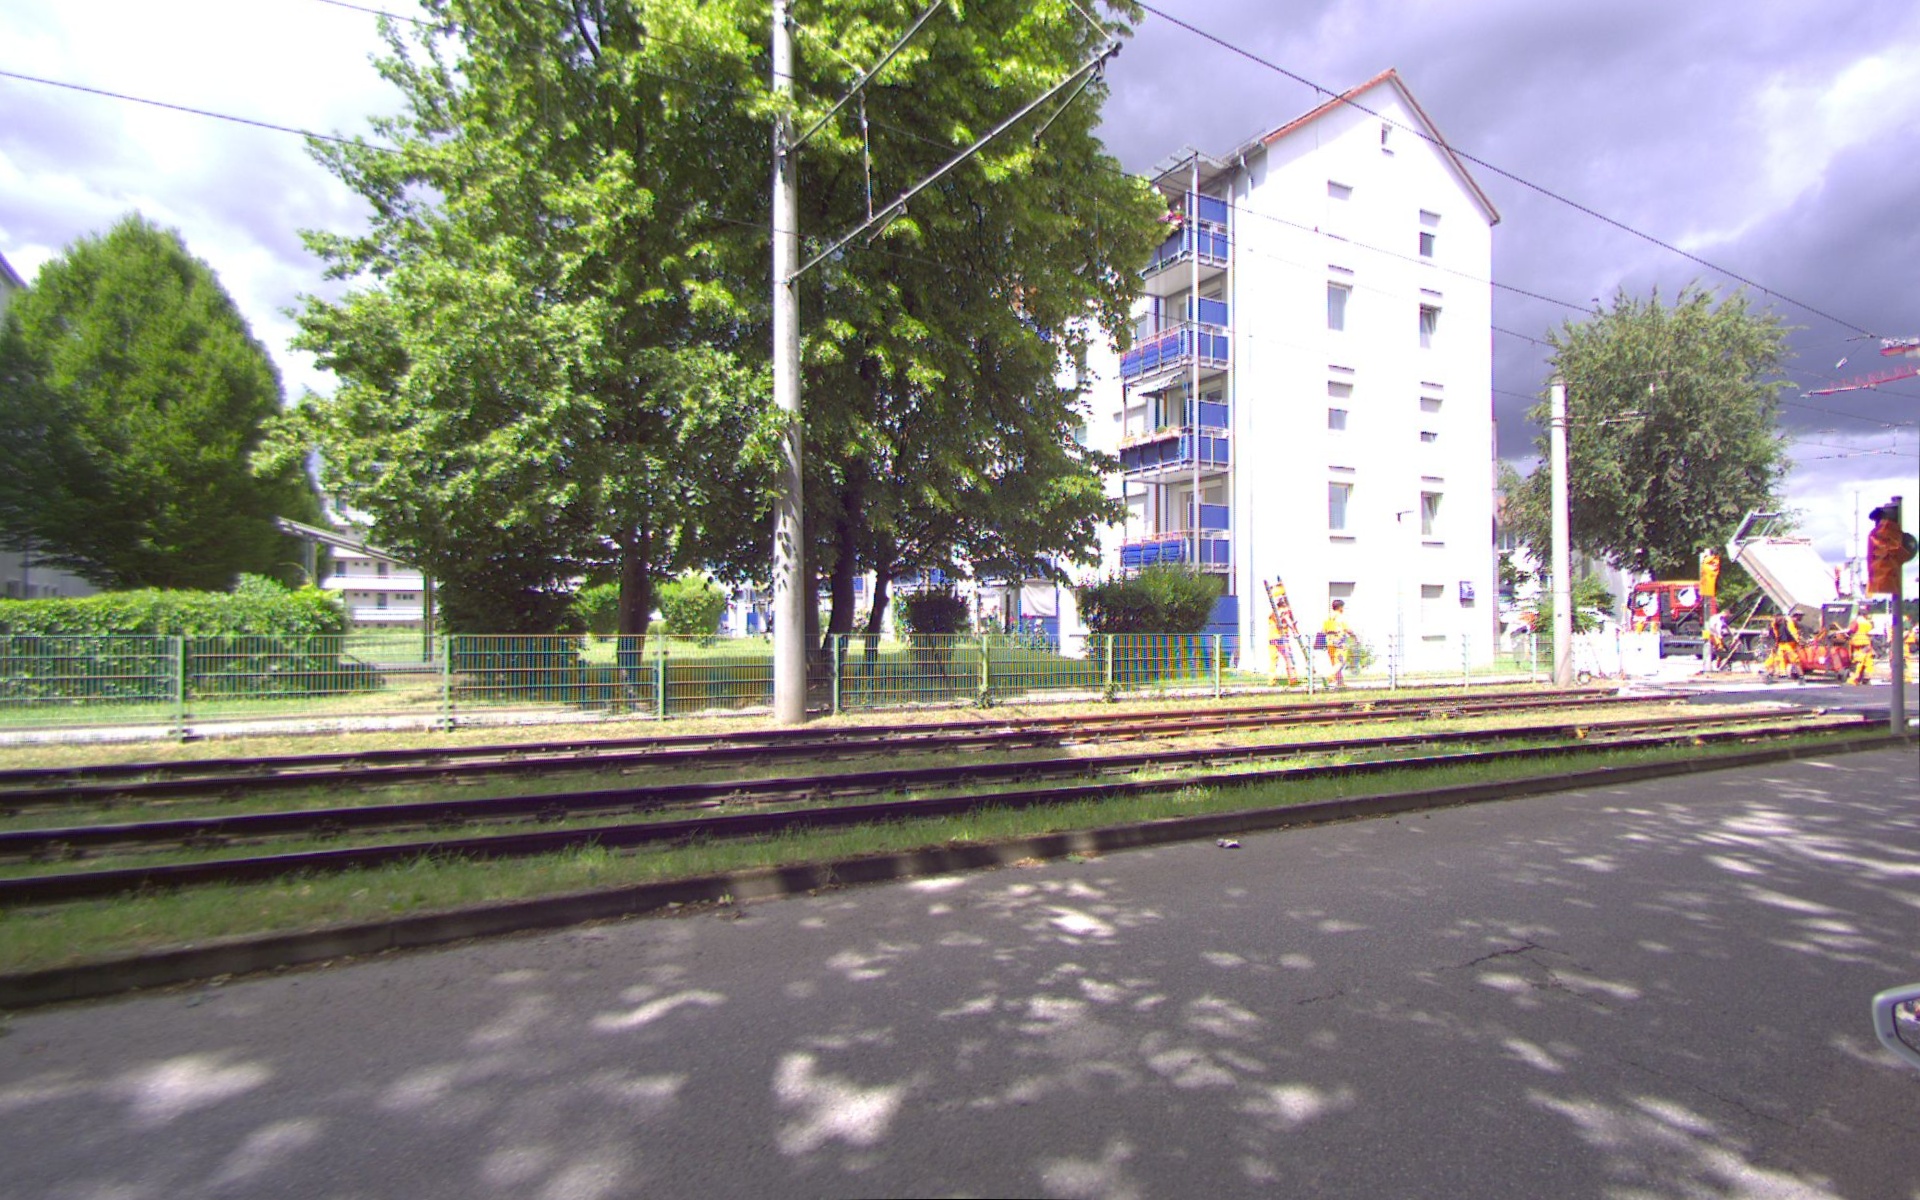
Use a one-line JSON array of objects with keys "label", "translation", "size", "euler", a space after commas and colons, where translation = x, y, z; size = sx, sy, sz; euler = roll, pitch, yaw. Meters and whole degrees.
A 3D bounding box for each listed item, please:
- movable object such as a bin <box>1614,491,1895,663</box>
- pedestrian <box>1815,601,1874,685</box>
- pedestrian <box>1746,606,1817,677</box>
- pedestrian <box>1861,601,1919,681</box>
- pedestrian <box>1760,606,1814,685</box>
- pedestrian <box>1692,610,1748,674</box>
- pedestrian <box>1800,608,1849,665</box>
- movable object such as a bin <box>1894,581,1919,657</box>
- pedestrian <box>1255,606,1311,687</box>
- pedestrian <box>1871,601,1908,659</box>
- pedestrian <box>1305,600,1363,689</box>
[{"label": "movable object such as a bin", "translation": [28.398, -0.677, 36.707], "size": [2.612, 5.486, 9.229], "euler": [1, -1, -3]}, {"label": "pedestrian", "translation": [20.662, 0.984, 23.483], "size": [0.873, 1.892, 0.835], "euler": [1, 0, 32]}, {"label": "pedestrian", "translation": [20.611, 1.021, 25.230], "size": [1.088, 1.738, 0.888], "euler": [1, 0, 16]}, {"label": "pedestrian", "translation": [22.724, 0.982, 24.413], "size": [0.821, 1.892, 0.888], "euler": [1, 0, -1]}, {"label": "pedestrian", "translation": [19.197, 1.034, 23.314], "size": [0.876, 1.784, 0.832], "euler": [1, 0, 45]}, {"label": "pedestrian", "translation": [20.196, 1.106, 26.704], "size": [0.870, 1.667, 0.837], "euler": [1, 0, 4]}, {"label": "pedestrian", "translation": [26.027, 1.094, 30.248], "size": [0.889, 1.667, 0.881], "euler": [1, 0, -30]}, {"label": "movable object such as a bin", "translation": [34.692, 0.655, 33.902], "size": [2.177, 2.664, 4.379], "euler": [1, -1, -3]}, {"label": "pedestrian", "translation": [6.701, 0.949, 20.857], "size": [0.856, 1.647, 0.728], "euler": [1, -1, -30]}, {"label": "pedestrian", "translation": [31.101, 0.988, 33.604], "size": [0.881, 1.892, 0.827], "euler": [1, 0, -41]}, {"label": "pedestrian", "translation": [7.524, 0.883, 20.234], "size": [0.856, 1.741, 0.696], "euler": [1, 0, -30]}]
